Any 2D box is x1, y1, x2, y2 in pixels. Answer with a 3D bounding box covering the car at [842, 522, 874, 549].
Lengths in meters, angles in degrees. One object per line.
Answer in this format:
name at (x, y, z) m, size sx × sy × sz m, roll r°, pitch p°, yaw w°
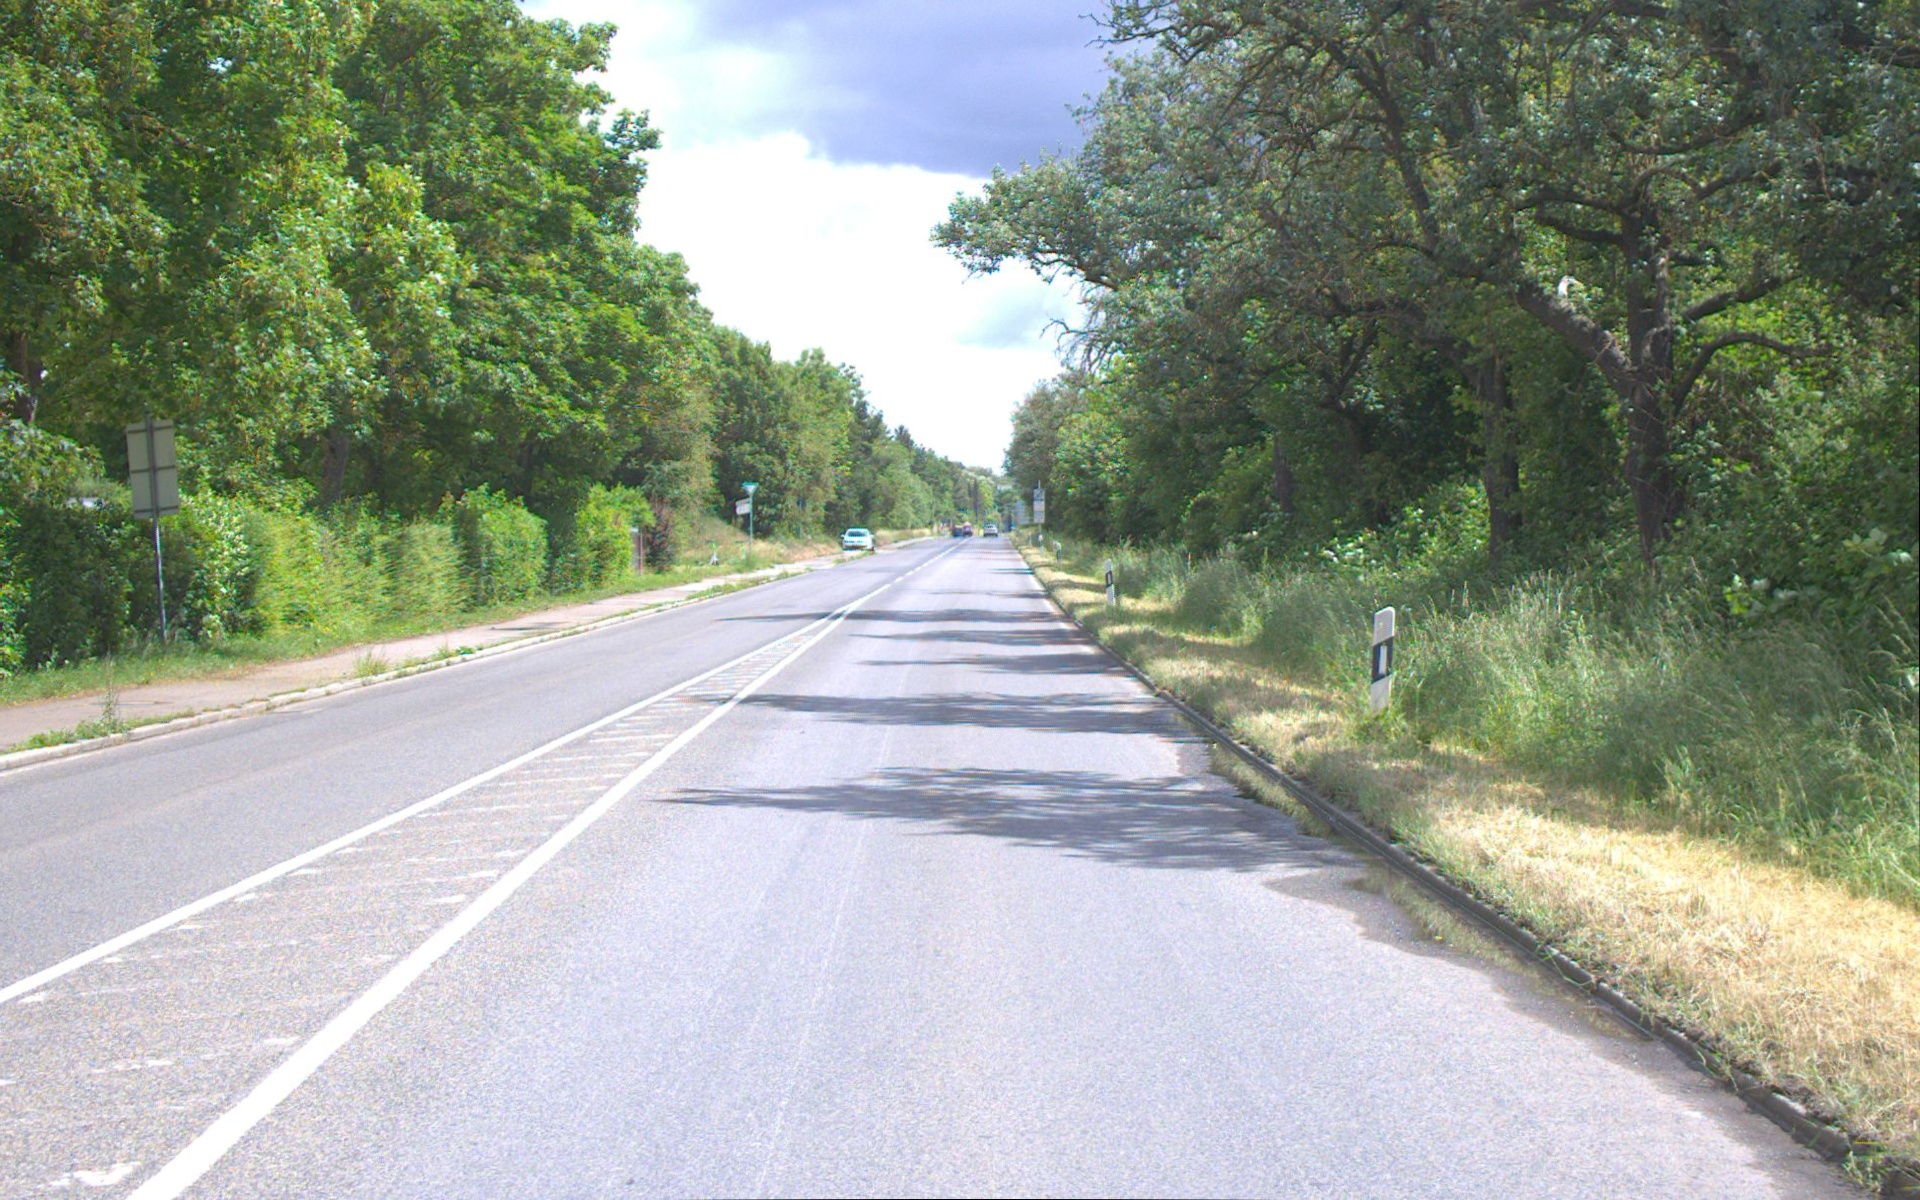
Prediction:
car at (-6.448, -4.083, 217.875) m, size 1.798 × 1.538 × 3.955 m, roll -1°, pitch 0°, yaw 1°
